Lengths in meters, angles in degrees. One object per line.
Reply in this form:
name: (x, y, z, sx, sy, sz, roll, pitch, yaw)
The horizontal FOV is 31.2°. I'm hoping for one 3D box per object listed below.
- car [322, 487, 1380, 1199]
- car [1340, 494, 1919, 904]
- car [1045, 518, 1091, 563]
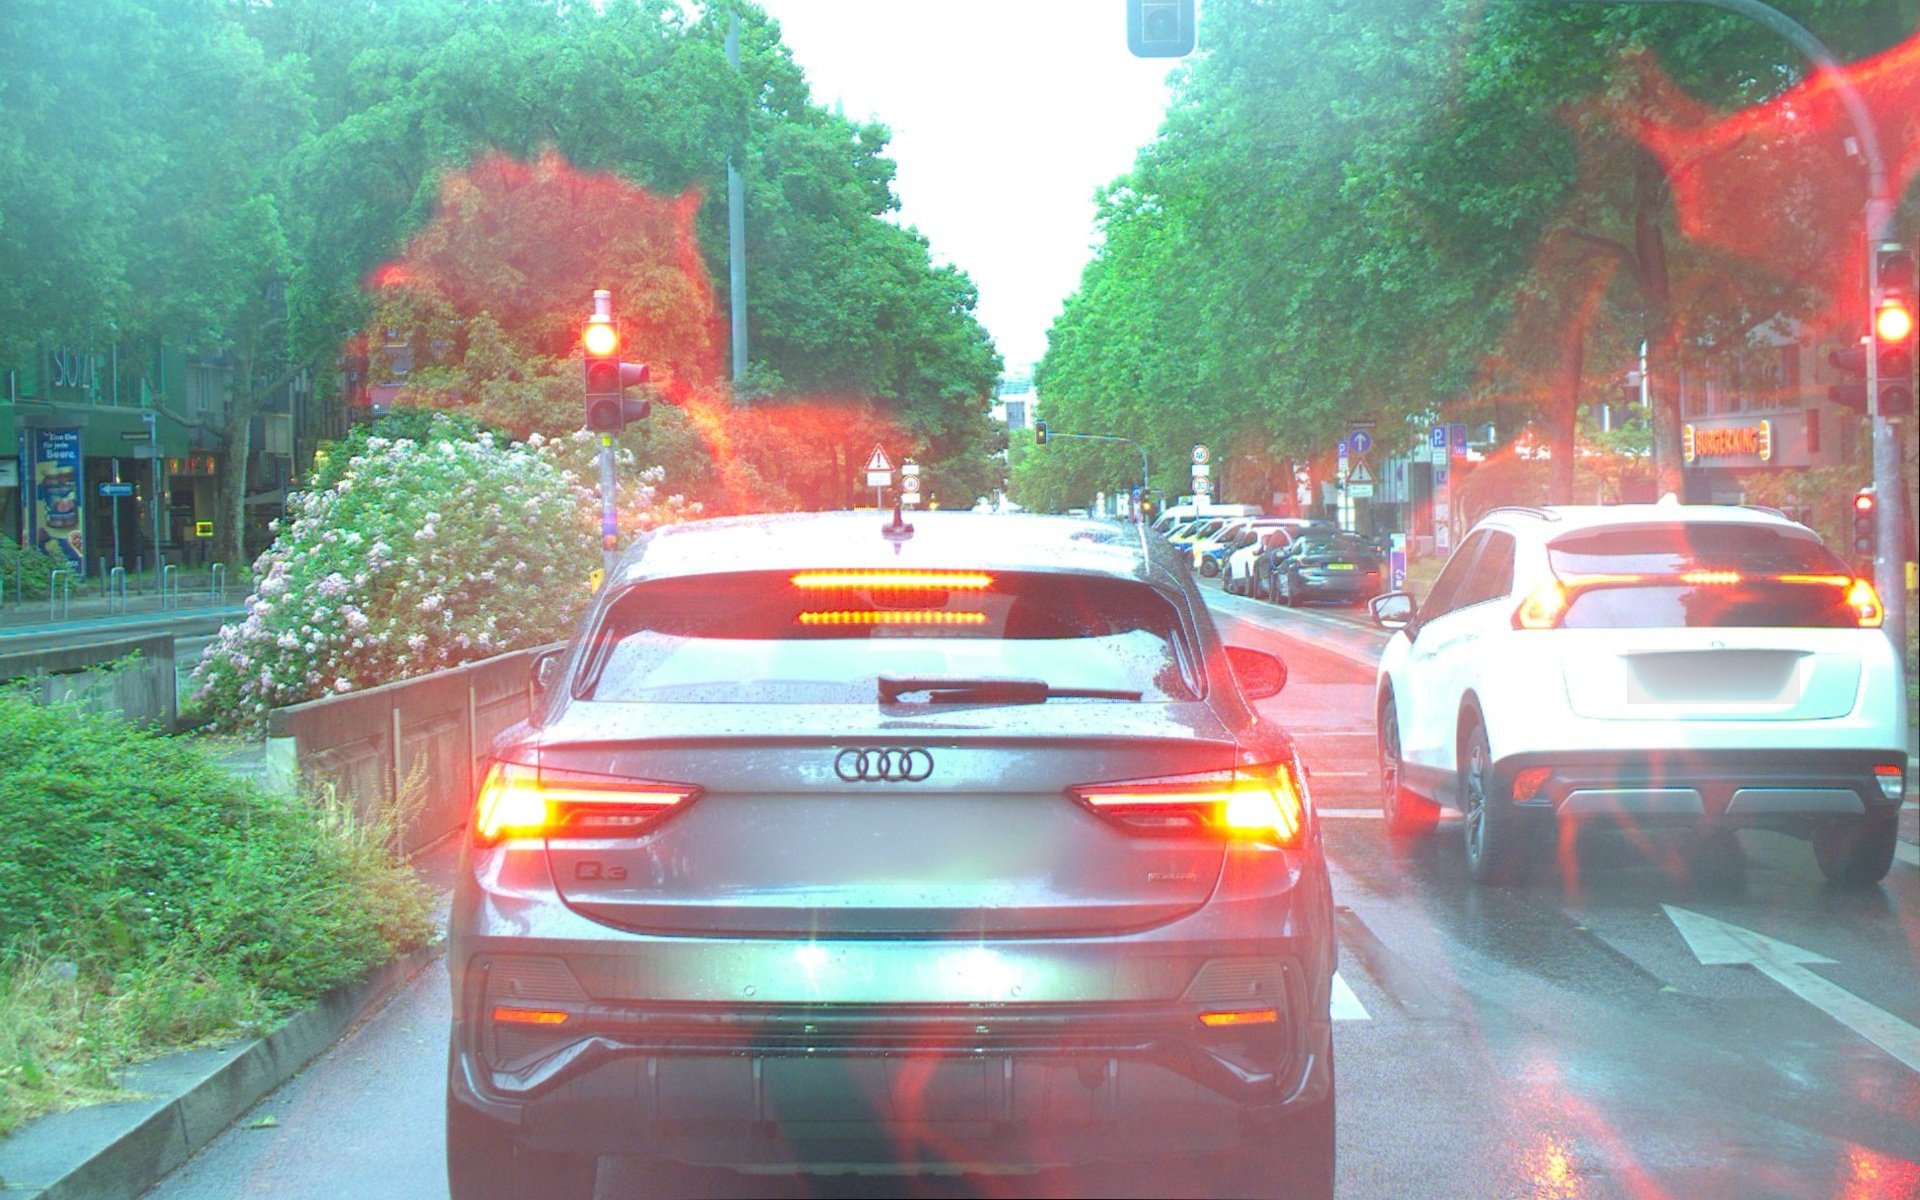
car: (-0.185, 0.483, 8.270, 1.918, 1.486, 4.000, 0, 2, 0)
car: (3.081, 0.343, 16.435, 1.993, 1.649, 4.889, -1, 1, 0)
car: (4.174, -2.335, 133.338, 1.620, 1.660, 4.000, -1, 2, 0)
